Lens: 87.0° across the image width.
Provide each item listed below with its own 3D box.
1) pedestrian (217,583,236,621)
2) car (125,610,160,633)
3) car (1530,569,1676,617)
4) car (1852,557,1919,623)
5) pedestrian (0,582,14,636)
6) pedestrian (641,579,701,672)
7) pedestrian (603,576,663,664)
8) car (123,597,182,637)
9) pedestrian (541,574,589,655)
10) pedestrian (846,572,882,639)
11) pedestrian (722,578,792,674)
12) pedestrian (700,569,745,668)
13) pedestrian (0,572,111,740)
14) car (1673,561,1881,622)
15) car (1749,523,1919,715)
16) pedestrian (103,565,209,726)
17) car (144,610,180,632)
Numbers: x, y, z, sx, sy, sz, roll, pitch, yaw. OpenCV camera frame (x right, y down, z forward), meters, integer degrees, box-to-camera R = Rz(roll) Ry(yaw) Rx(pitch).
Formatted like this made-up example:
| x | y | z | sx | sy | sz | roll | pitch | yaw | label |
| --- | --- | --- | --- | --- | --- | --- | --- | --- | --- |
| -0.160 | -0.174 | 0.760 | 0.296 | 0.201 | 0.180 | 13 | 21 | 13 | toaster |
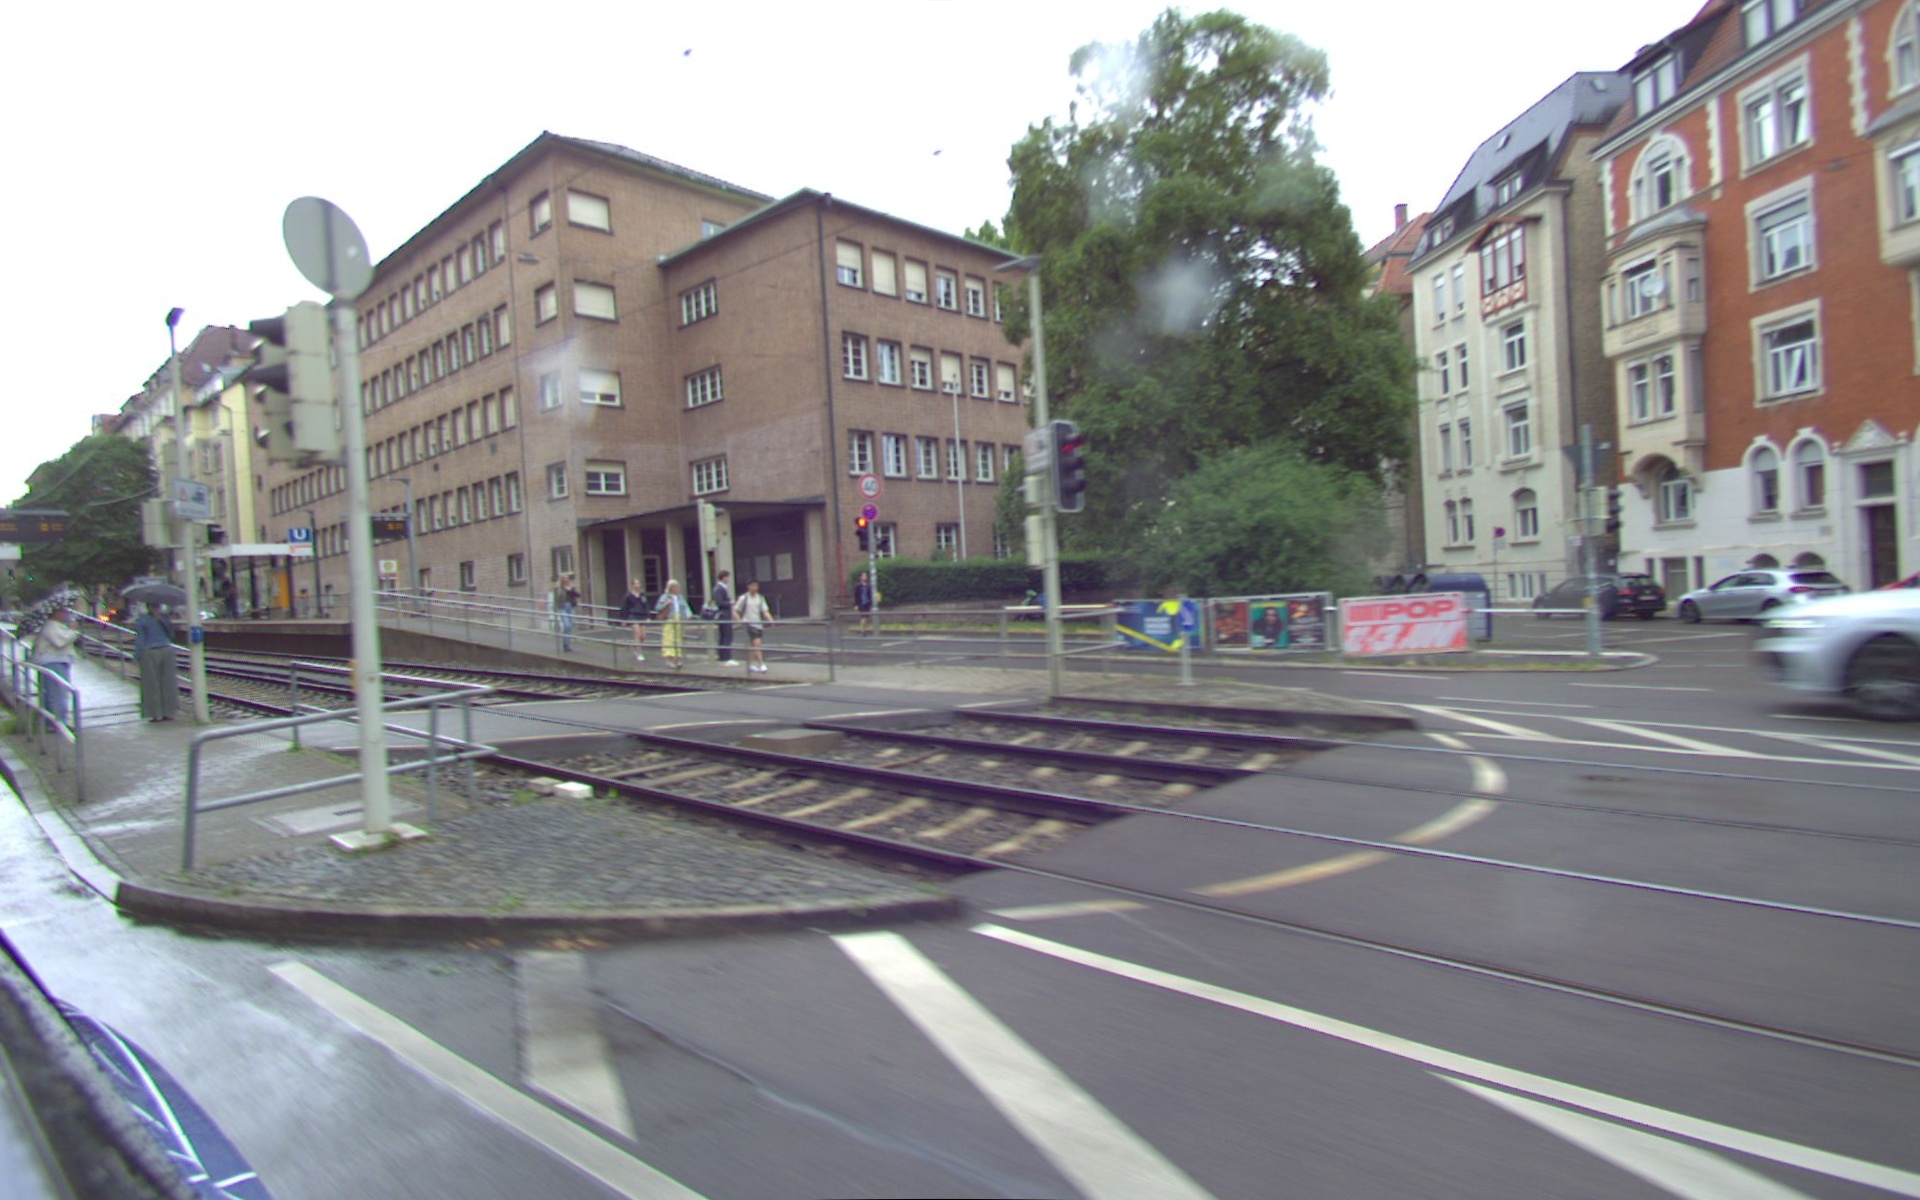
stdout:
| x | y | z | sx | sy | sz | roll | pitch | yaw | label |
| --- | --- | --- | --- | --- | --- | --- | --- | --- | --- |
| -32.979 | 0.092 | 45.503 | 0.491 | 1.722 | 0.581 | -1 | 0 | 42 | pedestrian |
| -63.867 | 1.673 | 79.051 | 4.341 | 1.592 | 1.626 | -1 | 2 | 45 | car |
| 20.399 | -0.221 | 32.349 | 1.715 | 1.413 | 4.149 | -1 | 0 | -6 | car |
| 21.425 | -0.239 | 21.173 | 1.715 | 1.413 | 4.005 | -1 | 0 | -6 | car |
| -32.323 | 0.307 | 34.008 | 0.710 | 1.788 | 0.637 | -1 | 2 | 43 | pedestrian |
| -5.416 | 0.473 | 18.984 | 0.641 | 1.659 | 0.736 | -1 | 4 | 43 | pedestrian |
| -6.676 | 0.389 | 20.672 | 0.883 | 1.708 | 0.736 | 1 | 5 | 42 | pedestrian |
| -44.064 | 0.918 | 55.220 | 4.000 | 2.029 | 1.972 | -1 | 0 | 43 | car |
| -8.711 | 0.298 | 22.317 | 0.688 | 1.710 | 0.658 | 3 | 6 | 40 | pedestrian |
| -2.472 | 0.138 | 26.043 | 0.688 | 1.688 | 0.597 | -2 | 0 | 40 | pedestrian |
| -3.485 | 0.434 | 17.375 | 0.956 | 1.594 | 0.685 | -1 | 1 | 43 | pedestrian |
| -4.525 | 0.345 | 19.310 | 0.506 | 1.832 | 0.798 | -2 | 1 | 9 | pedestrian |
| -11.692 | 0.679 | 12.858 | 0.916 | 2.028 | 0.948 | -3 | 1 | -1 | pedestrian |
| 20.944 | -0.223 | 26.202 | 1.715 | 1.413 | 4.173 | -1 | 0 | -6 | car |
| 9.914 | 0.120 | 8.247 | 1.970 | 1.640 | 5.257 | -1 | 0 | -44 | car |
| -10.760 | 0.579 | 13.541 | 0.947 | 2.028 | 0.887 | -1 | 2 | 43 | pedestrian |
| -57.520 | 1.493 | 72.899 | 3.112 | 1.477 | 1.626 | -1 | 2 | 45 | car |
